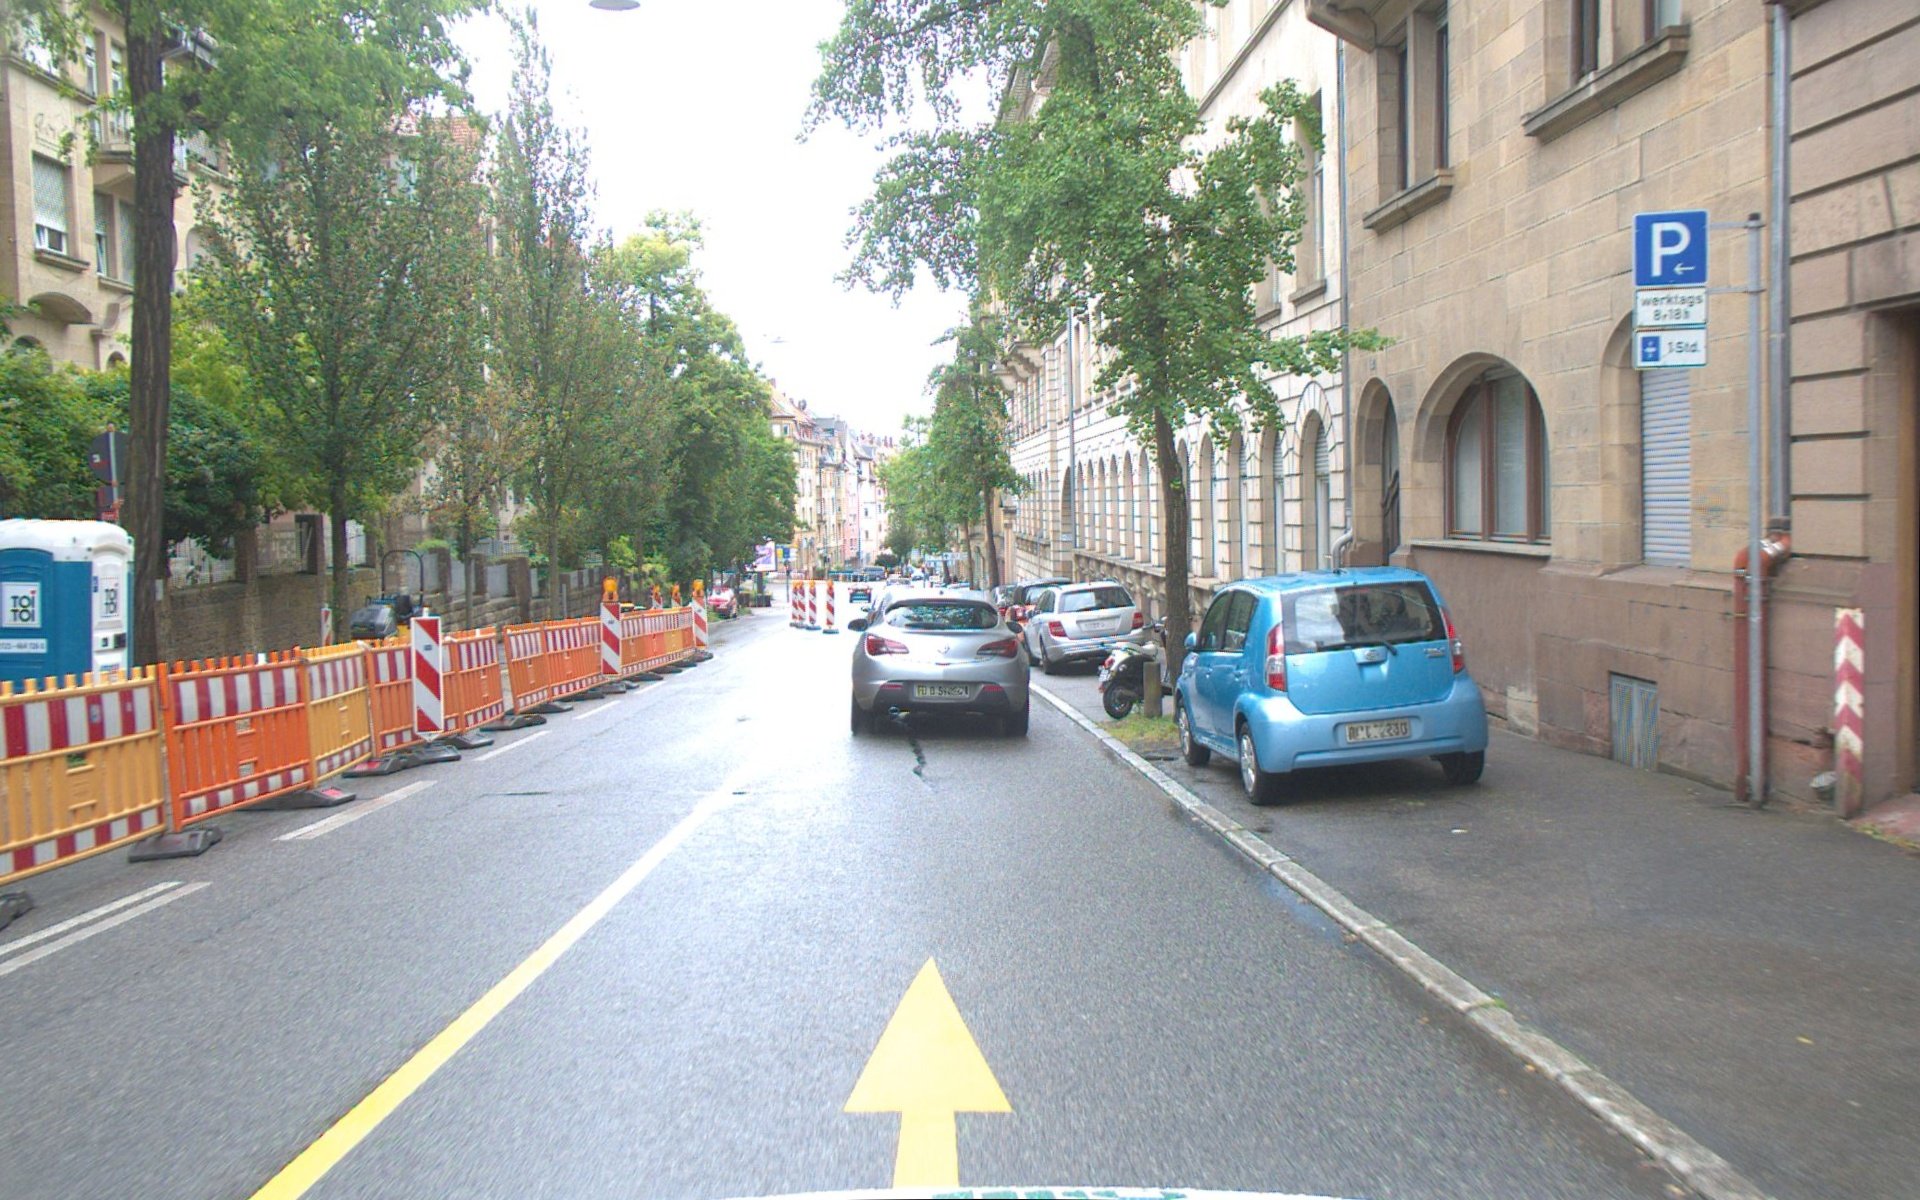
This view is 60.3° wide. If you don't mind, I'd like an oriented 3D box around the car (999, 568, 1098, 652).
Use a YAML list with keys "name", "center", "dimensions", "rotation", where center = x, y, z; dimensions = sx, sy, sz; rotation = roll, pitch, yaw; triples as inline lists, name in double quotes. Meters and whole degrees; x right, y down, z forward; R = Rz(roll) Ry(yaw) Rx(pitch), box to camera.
- name: "car"
  center: [1.790, 0.173, 34.401]
  dimensions: [1.606, 1.546, 3.181]
  rotation: [-4, 1, -3]

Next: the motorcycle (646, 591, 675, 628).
- name: "motorcycle"
  center: [-11.251, 0.344, 62.163]
  dimensions: [0.750, 1.369, 2.202]
  rotation: [0, 0, -2]

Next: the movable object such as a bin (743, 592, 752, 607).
- name: "movable object such as a bin"
  center: [-15.809, -0.020, 123.228]
  dimensions: [0.613, 1.077, 0.633]
  rotation: [1, 0, -8]

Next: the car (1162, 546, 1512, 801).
- name: "car"
  center: [2.707, 0.462, 12.693]
  dimensions: [1.624, 1.569, 3.663]
  rotation: [-3, 1, -3]

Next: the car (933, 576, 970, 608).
- name: "car"
  center: [-0.483, -0.436, 86.951]
  dimensions: [1.605, 1.630, 3.854]
  rotation: [-2, 1, -5]

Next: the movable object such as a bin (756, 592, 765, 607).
- name: "movable object such as a bin"
  center: [-14.876, -0.048, 123.200]
  dimensions: [0.613, 1.077, 0.719]
  rotation: [1, 0, -8]

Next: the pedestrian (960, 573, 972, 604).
- name: "pedestrian"
  center: [0.395, -0.730, 101.887]
  dimensions: [0.701, 1.903, 0.635]
  rotation: [0, 0, -3]

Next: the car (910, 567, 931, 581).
- name: "car"
  center: [-4.785, -3.167, 201.961]
  dimensions: [1.951, 1.713, 4.003]
  rotation: [1, 0, 8]

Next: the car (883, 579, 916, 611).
- name: "car"
  center: [-3.285, -0.277, 89.256]
  dimensions: [1.624, 1.569, 3.663]
  rotation: [-3, 1, -3]

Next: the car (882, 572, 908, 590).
- name: "car"
  center: [-6.609, -1.930, 169.455]
  dimensions: [1.951, 1.713, 4.003]
  rotation: [1, 0, 8]

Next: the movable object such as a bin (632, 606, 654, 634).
- name: "movable object such as a bin"
  center: [-10.428, 0.655, 54.372]
  dimensions: [0.591, 0.923, 0.623]
  rotation: [1, 1, -1]

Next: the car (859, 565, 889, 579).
- name: "car"
  center: [-11.210, -3.628, 215.227]
  dimensions: [3.907, 1.780, 1.999]
  rotation: [1, 0, -3]

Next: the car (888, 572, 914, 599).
- name: "car"
  center: [-4.218, -1.040, 117.895]
  dimensions: [1.681, 1.813, 3.663]
  rotation: [-4, 1, -3]

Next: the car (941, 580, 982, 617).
- name: "car"
  center: [0.047, -0.102, 72.132]
  dimensions: [1.604, 1.494, 3.856]
  rotation: [-2, 1, -2]

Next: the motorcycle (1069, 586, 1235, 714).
- name: "motorcycle"
  center: [2.175, 0.532, 18.576]
  dimensions: [1.920, 1.257, 0.648]
  rotation: [-5, 3, -39]

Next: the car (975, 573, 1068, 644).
- name: "car"
  center: [1.443, 0.159, 40.321]
  dimensions: [1.723, 1.486, 4.721]
  rotation: [-4, 1, -3]

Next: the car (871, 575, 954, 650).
- name: "car"
  center: [-1.060, 0.233, 36.233]
  dimensions: [1.736, 1.530, 3.868]
  rotation: [0, 1, -2]

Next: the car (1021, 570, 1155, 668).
- name: "car"
  center: [2.154, 0.266, 28.910]
  dimensions: [1.662, 1.456, 4.419]
  rotation: [-4, 1, -3]

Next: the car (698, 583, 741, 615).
- name: "car"
  center: [-11.679, -0.060, 80.521]
  dimensions: [1.604, 1.464, 4.078]
  rotation: [-2, 1, -2]

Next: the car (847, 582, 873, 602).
- name: "car"
  center: [-8.060, -0.680, 133.257]
  dimensions: [1.955, 1.527, 3.996]
  rotation: [-1, 1, -5]

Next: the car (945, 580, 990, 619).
- name: "car"
  center: [0.286, -0.047, 66.988]
  dimensions: [1.604, 1.454, 3.375]
  rotation: [-2, 1, -3]

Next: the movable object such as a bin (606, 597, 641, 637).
- name: "movable object such as a bin"
  center: [-10.562, 0.535, 51.987]
  dimensions: [0.925, 1.235, 0.856]
  rotation: [1, 1, -1]

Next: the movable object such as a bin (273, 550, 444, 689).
- name: "movable object such as a bin"
  center: [-10.853, 0.312, 30.040]
  dimensions: [1.952, 2.339, 2.816]
  rotation: [-2, 1, 1]

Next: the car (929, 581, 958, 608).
- name: "car"
  center: [-1.037, -0.374, 101.696]
  dimensions: [1.604, 1.551, 3.856]
  rotation: [-2, 1, -2]

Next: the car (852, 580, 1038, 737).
- name: "car"
  center: [-0.125, 0.539, 17.778]
  dimensions: [1.774, 1.475, 3.870]
  rotation: [0, 1, 0]
